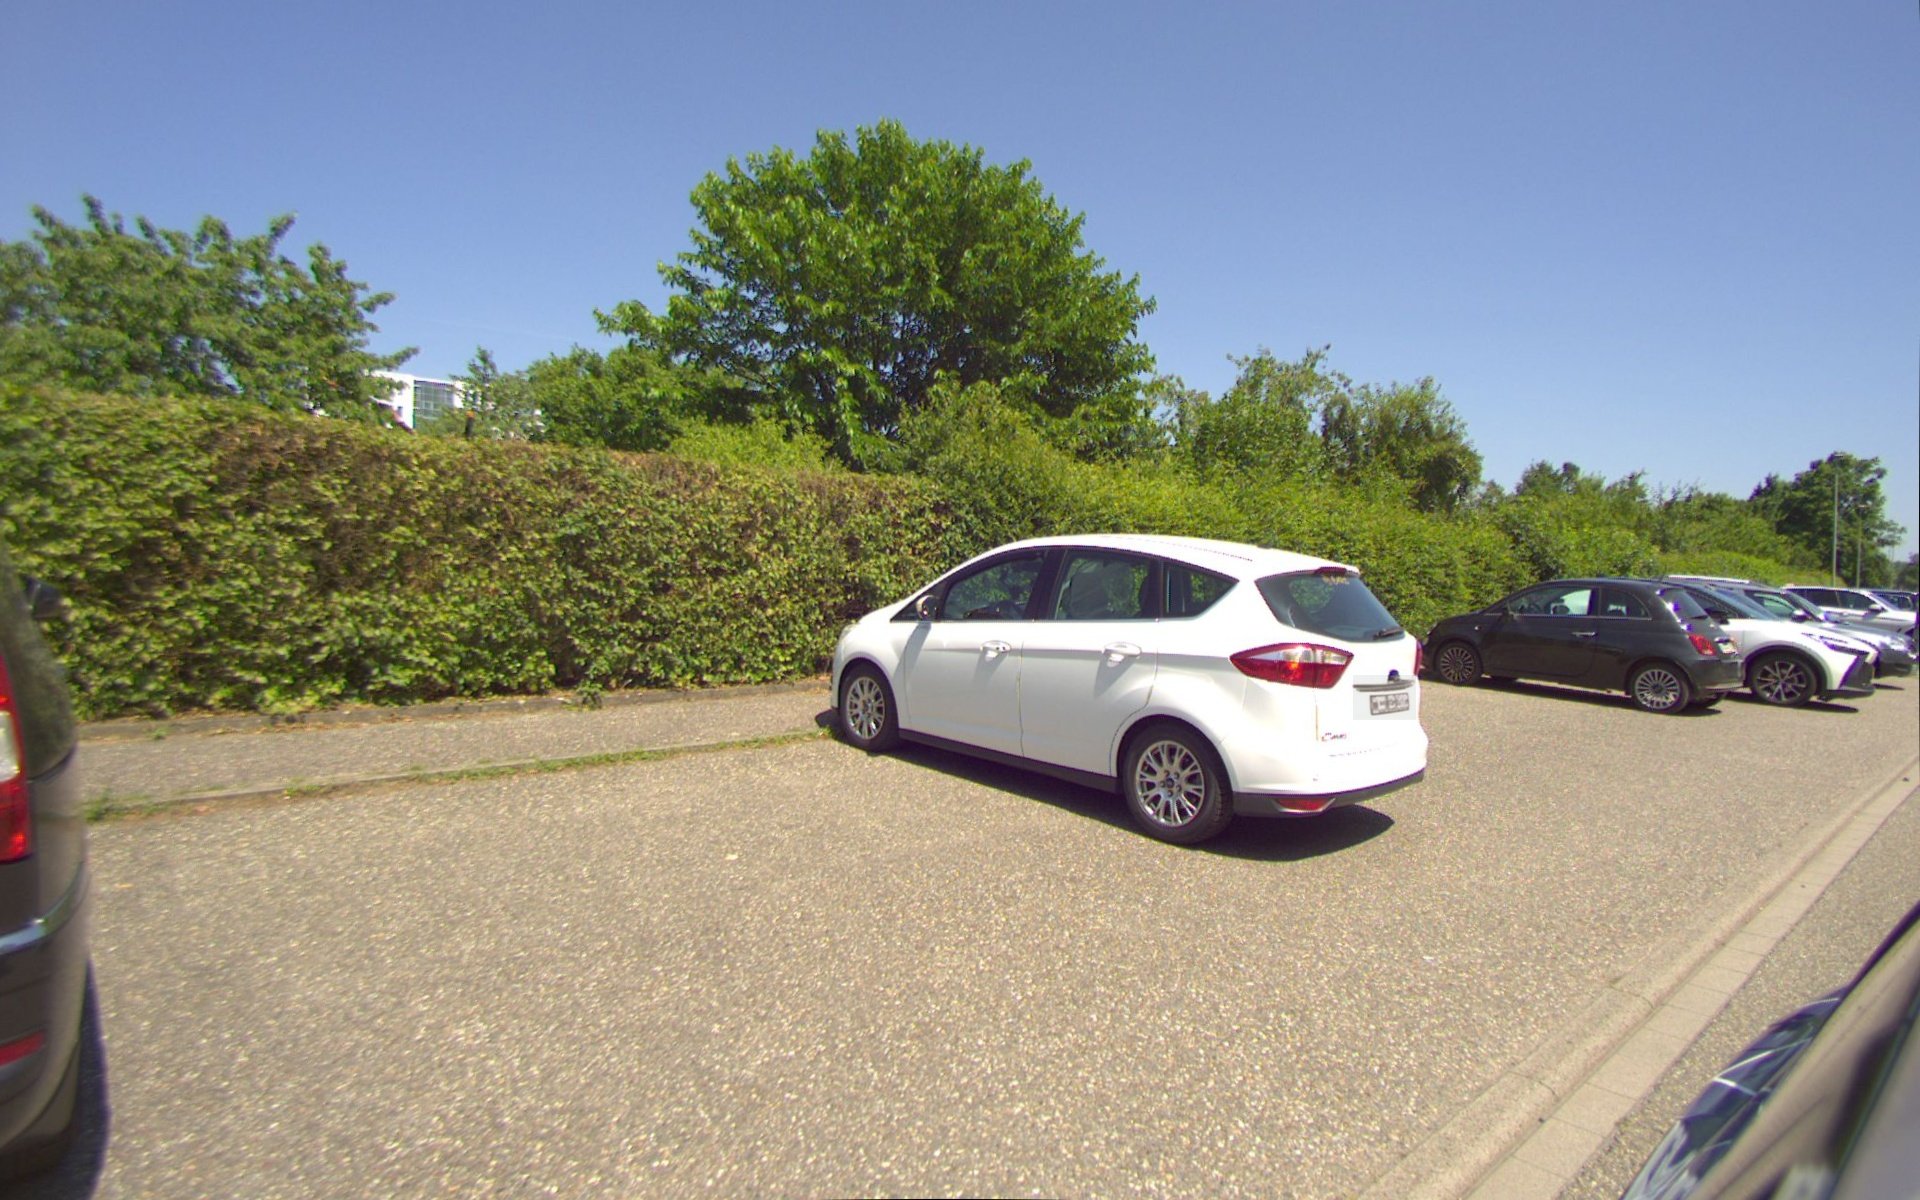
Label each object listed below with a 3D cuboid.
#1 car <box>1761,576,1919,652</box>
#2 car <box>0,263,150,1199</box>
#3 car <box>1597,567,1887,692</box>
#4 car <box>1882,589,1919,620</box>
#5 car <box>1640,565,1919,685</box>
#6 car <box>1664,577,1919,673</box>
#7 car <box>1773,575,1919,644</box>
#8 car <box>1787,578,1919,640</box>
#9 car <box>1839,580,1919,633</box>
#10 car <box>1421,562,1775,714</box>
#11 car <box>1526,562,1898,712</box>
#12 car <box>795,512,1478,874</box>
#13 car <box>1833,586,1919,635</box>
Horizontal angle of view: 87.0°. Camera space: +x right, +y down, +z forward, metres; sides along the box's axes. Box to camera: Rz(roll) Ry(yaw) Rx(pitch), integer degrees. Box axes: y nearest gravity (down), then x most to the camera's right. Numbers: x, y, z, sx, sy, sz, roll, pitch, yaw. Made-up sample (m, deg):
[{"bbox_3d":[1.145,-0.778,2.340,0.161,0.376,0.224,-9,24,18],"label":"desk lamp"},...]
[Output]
[{"bbox_3d":[24.343,0.359,26.893,1.819,1.750,4.464,-1,4,-41],"label":"car"},{"bbox_3d":[-3.654,0.216,2.660,1.921,1.826,4.457,-1,5,-45],"label":"car"},{"bbox_3d":[12.512,0.395,16.318,3.455,1.545,1.515,8,5,44],"label":"car"},{"bbox_3d":[62.716,0.398,65.384,4.483,1.873,1.669,7,4,44],"label":"car"},{"bbox_3d":[14.799,0.365,18.154,1.637,1.660,3.965,0,5,-45],"label":"car"},{"bbox_3d":[16.640,0.435,20.331,1.580,1.468,3.703,1,5,-37],"label":"car"},{"bbox_3d":[26.021,0.256,28.974,1.736,1.706,3.980,0,3,-42],"label":"car"},{"bbox_3d":[28.850,0.296,31.827,1.747,1.661,4.165,0,5,-44],"label":"car"},{"bbox_3d":[33.386,0.290,35.157,1.645,1.661,4.034,0,5,-42],"label":"car"},{"bbox_3d":[7.912,0.375,12.803,1.559,1.522,3.398,1,3,-38],"label":"car"},{"bbox_3d":[10.536,0.404,14.368,3.965,1.541,1.835,8,5,43],"label":"car"},{"bbox_3d":[0.843,0.294,6.782,1.735,1.597,4.283,1,4,-43],"label":"car"},{"bbox_3d":[31.370,0.413,33.119,1.651,1.426,4.033,0,5,-43],"label":"car"}]
